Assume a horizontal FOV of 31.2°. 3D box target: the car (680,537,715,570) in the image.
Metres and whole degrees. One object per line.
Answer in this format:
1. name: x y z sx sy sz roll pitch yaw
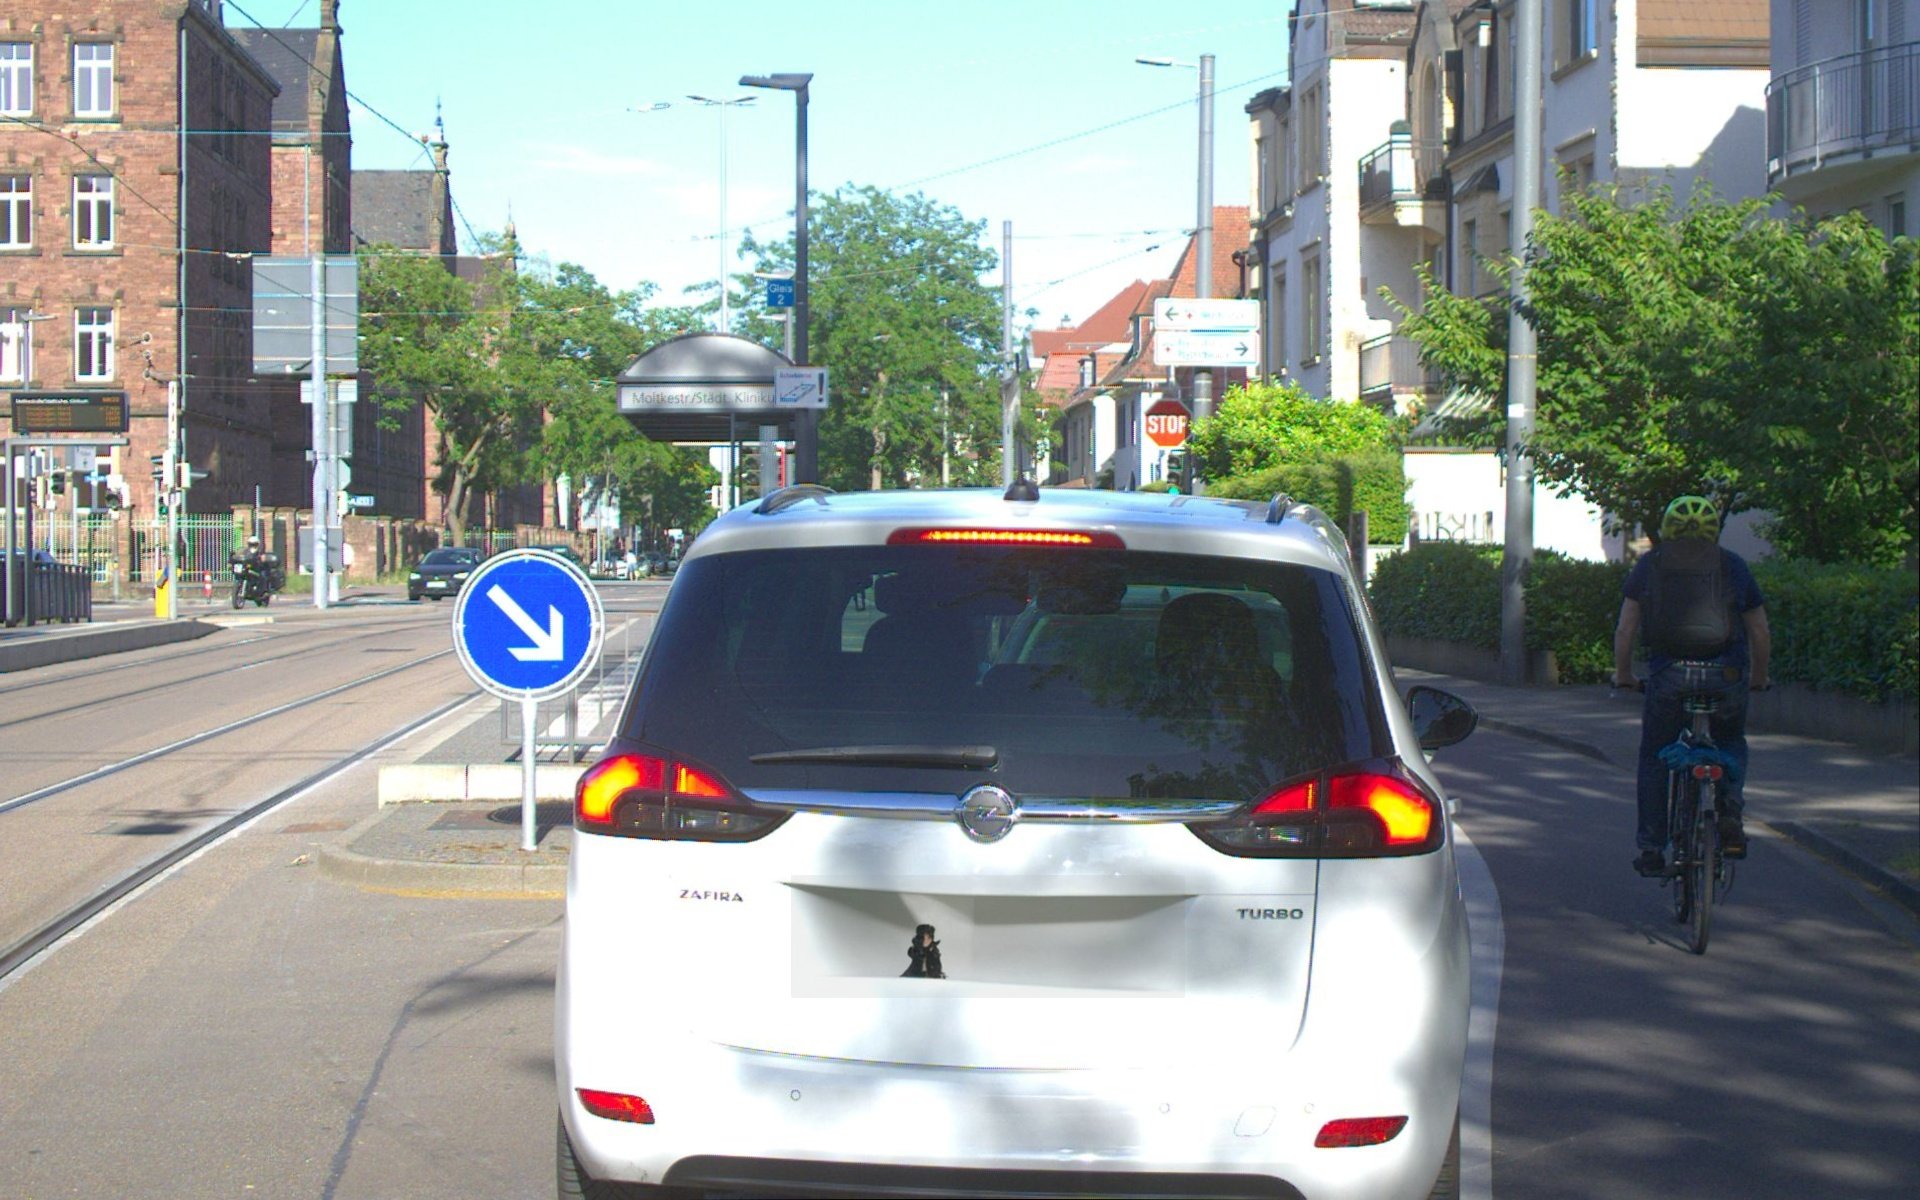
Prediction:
1. car: -16.226 -2.845 212.258 1.993 2.007 4.001 1 1 -6

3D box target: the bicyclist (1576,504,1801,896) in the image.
1. bicyclist: 2.874 0.376 13.645 0.644 1.482 1.115 1 0 1

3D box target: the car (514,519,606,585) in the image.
1. car: -12.411 -1.480 106.874 1.994 2.007 3.999 1 1 6

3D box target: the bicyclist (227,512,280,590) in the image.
1. bicyclist: -15.447 -1.083 75.183 0.726 1.682 1.169 0 1 12

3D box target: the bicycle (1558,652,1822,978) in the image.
1. bicycle: 2.868 0.812 13.685 0.642 1.139 1.902 0 1 0

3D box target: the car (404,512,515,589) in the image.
1. car: -13.377 -1.313 92.024 1.994 2.007 3.999 1 1 6

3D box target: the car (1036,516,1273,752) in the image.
1. car: 1.409 0.201 26.056 1.569 1.609 3.784 2 1 1

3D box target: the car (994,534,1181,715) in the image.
1. car: 1.206 0.191 33.971 1.596 1.629 3.901 2 1 -1

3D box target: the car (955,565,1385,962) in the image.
1. car: 0.948 0.591 14.782 1.569 1.396 3.783 2 1 5

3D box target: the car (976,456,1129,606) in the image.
1. car: 1.050 -0.811 40.595 1.596 1.629 3.901 2 1 -1

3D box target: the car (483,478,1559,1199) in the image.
1. car: 0.265 0.559 8.081 1.878 1.579 3.999 2 1 5

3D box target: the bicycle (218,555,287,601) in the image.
1. bicycle: -15.451 -0.493 75.152 0.726 0.962 2.059 0 1 12
